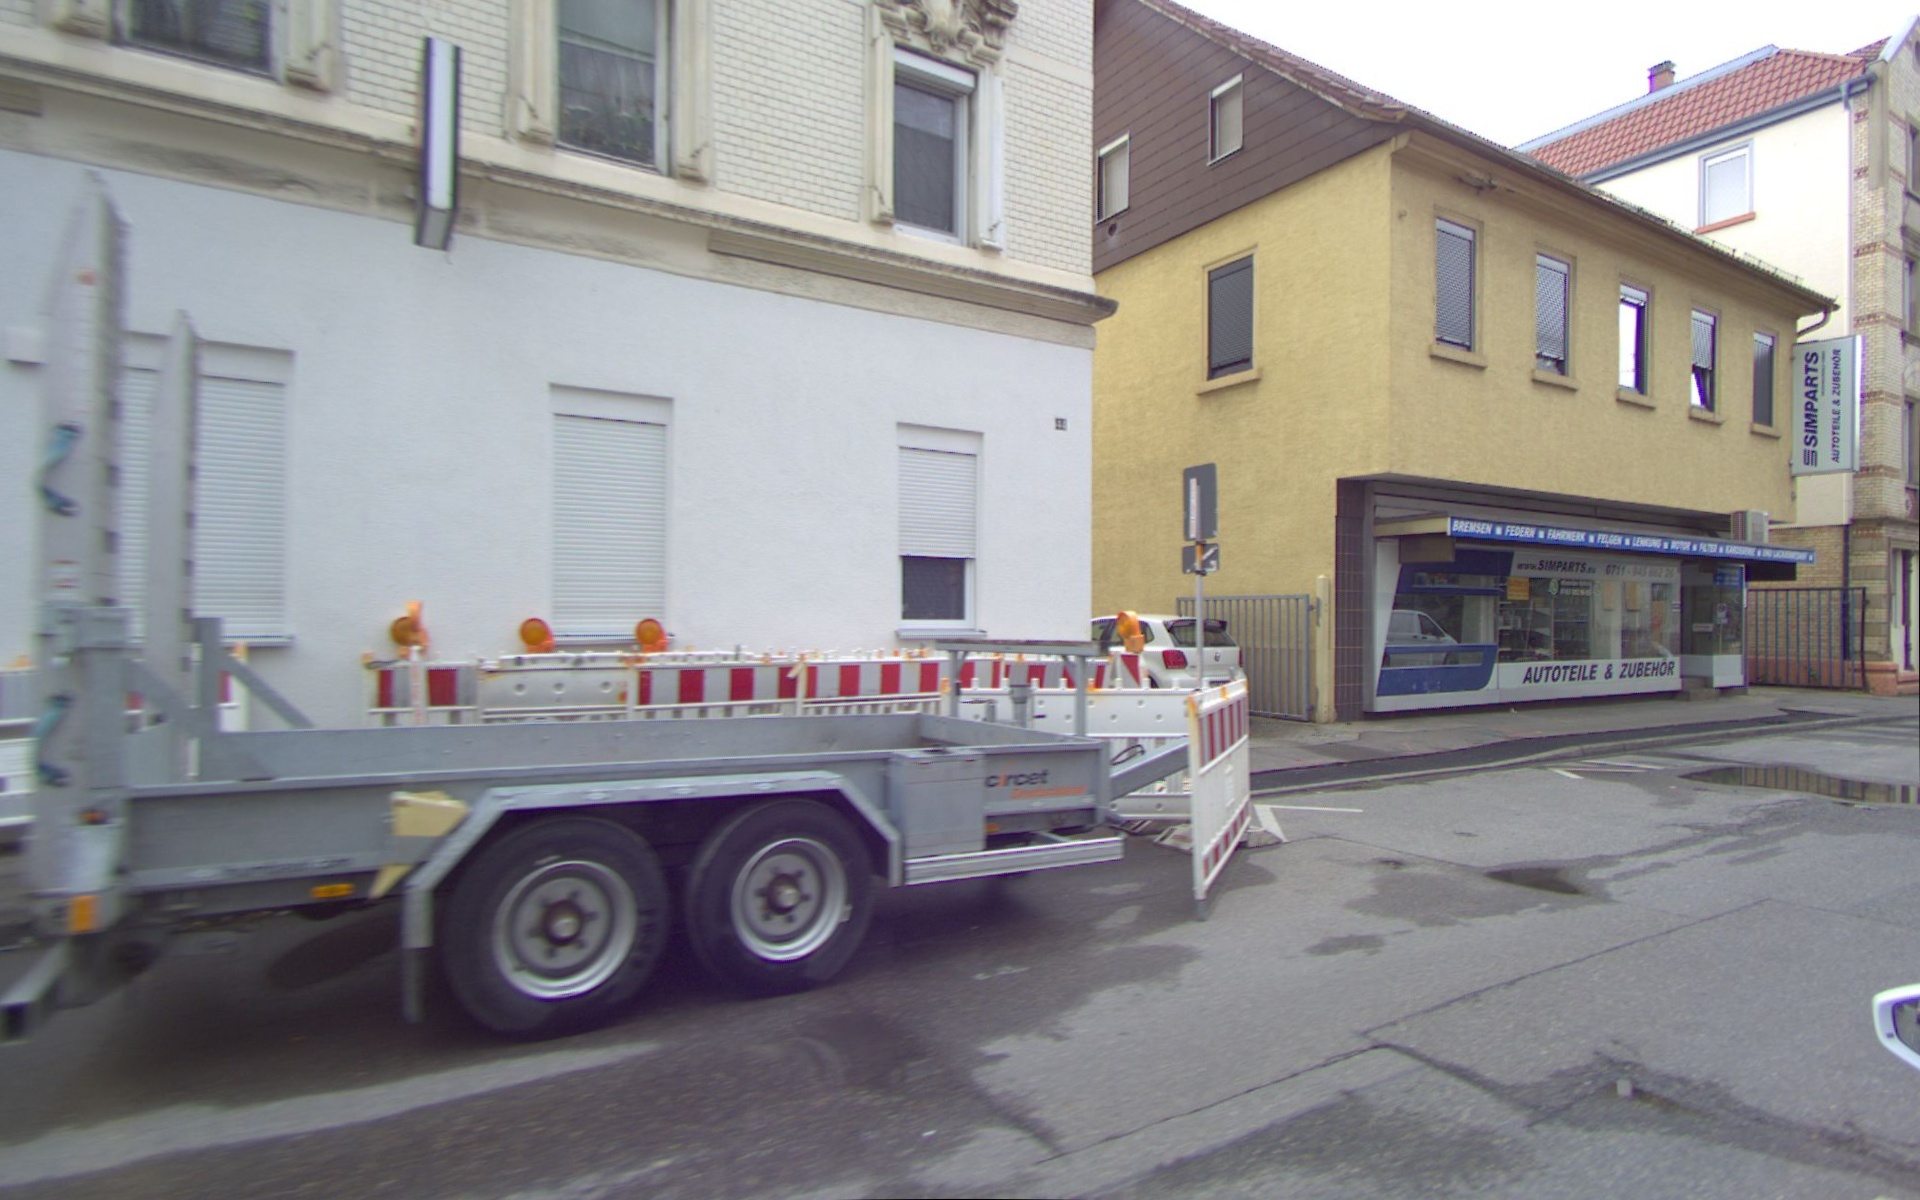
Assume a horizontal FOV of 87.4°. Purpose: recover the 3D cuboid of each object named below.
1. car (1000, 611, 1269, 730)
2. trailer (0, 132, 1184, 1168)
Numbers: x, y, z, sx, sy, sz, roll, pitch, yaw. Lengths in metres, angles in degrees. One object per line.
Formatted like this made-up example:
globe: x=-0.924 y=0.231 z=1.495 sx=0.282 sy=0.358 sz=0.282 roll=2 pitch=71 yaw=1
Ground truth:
car: x=2.450 y=0.938 z=15.002 sx=1.708 sy=1.506 sz=3.962 roll=1 pitch=-1 yaw=-34
trailer: x=-2.181 y=0.181 z=4.436 sx=6.229 sy=2.841 sz=2.433 roll=1 pitch=-2 yaw=-30
